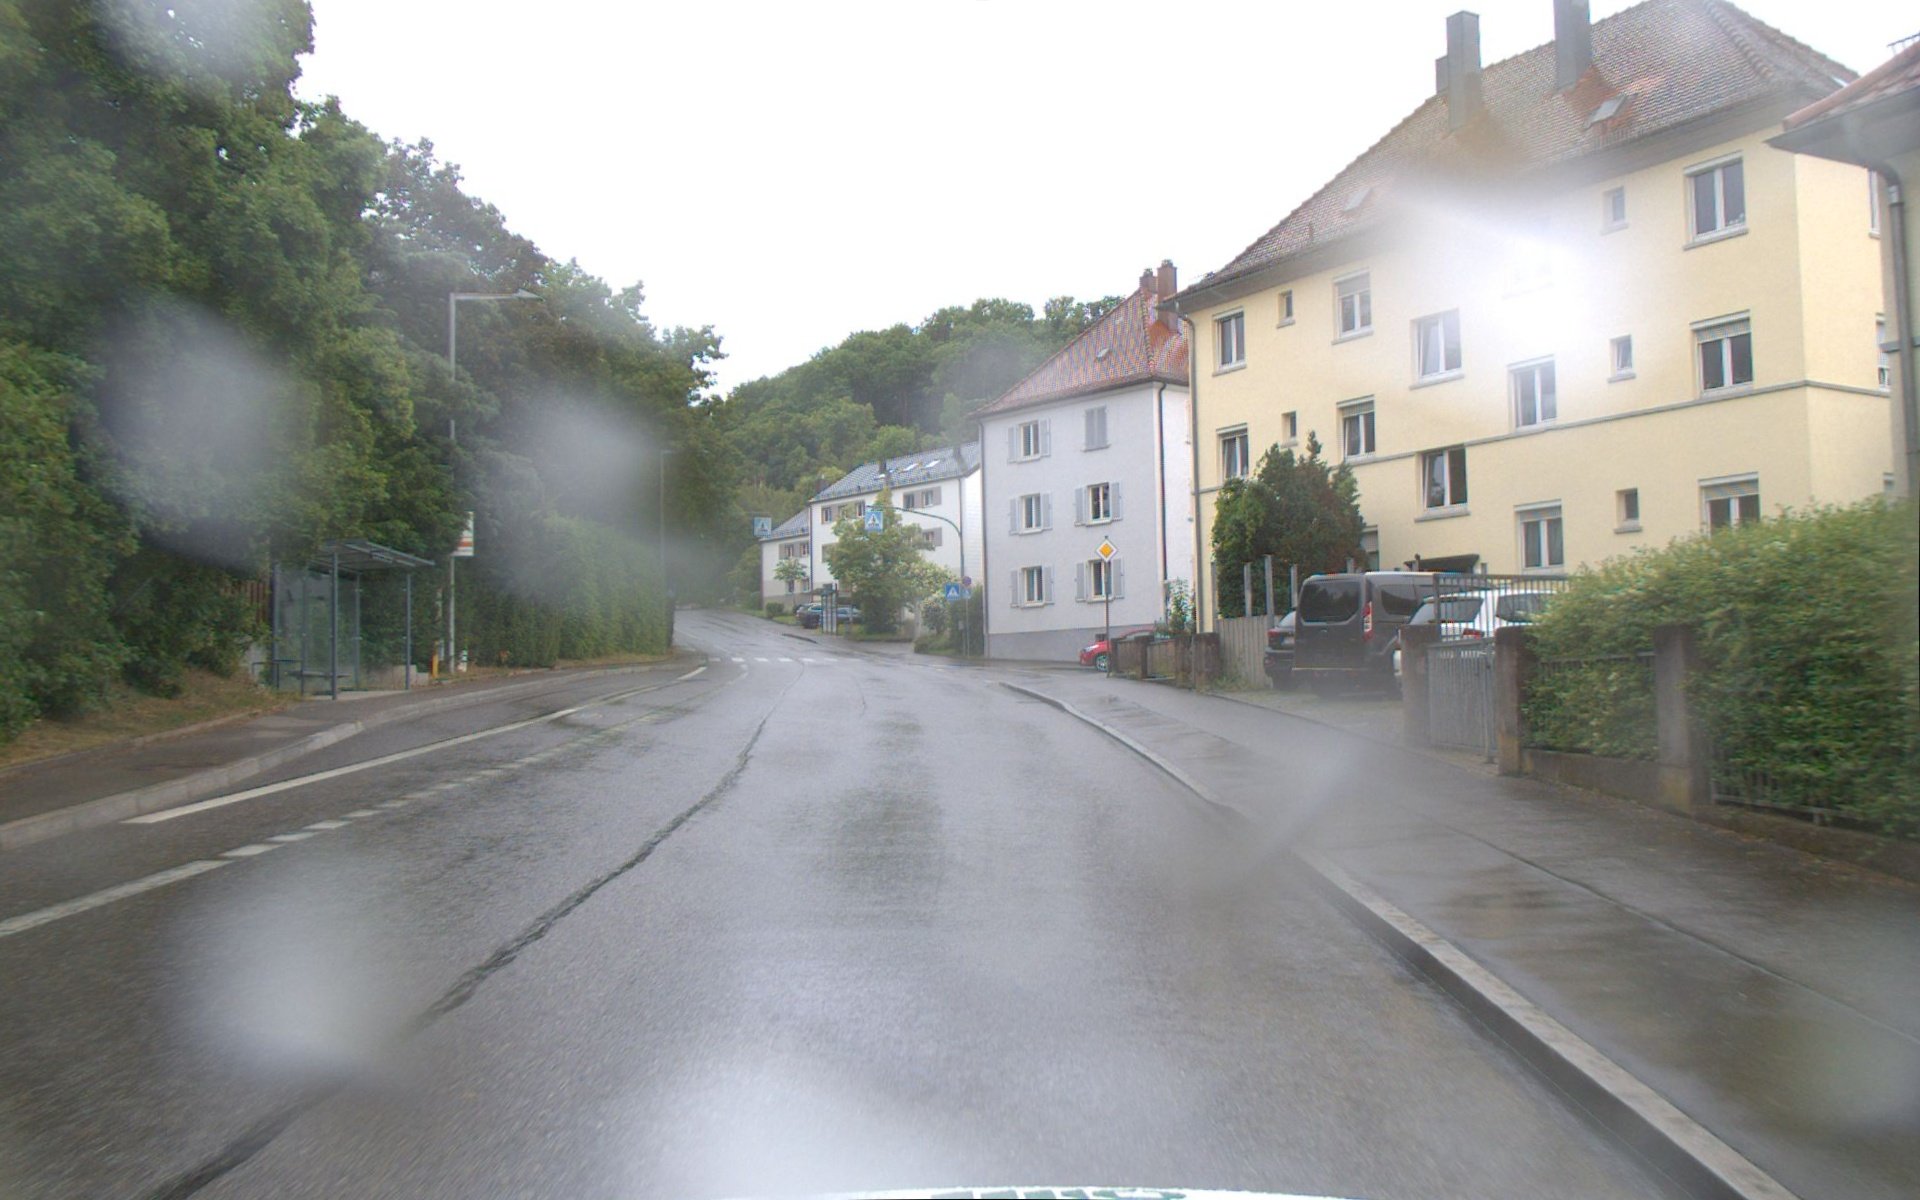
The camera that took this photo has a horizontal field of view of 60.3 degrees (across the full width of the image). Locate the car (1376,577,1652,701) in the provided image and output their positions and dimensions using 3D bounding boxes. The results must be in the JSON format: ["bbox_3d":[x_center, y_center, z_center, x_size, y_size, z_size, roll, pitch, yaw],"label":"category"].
[{"bbox_3d":[7.633,0.527,22.756,3.478,1.500,1.670,-2,-2,-30],"label":"car"}]

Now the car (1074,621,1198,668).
[{"bbox_3d":[5.870,1.480,55.229,3.994,1.432,1.725,2,-1,6],"label":"car"}]

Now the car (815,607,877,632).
[{"bbox_3d":[-7.376,1.267,107.109,3.684,1.484,1.716,-1,2,-18],"label":"car"}]

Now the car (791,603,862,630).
[{"bbox_3d":[-9.011,1.084,111.990,4.463,1.689,1.844,-1,2,-23],"label":"car"}]

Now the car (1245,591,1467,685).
[{"bbox_3d":[6.661,0.629,27.775,3.483,1.362,1.668,-2,-2,-34],"label":"car"}]

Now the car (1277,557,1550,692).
[{"bbox_3d":[6.880,0.354,24.999,3.885,1.813,1.751,-2,-2,-32],"label":"car"}]
